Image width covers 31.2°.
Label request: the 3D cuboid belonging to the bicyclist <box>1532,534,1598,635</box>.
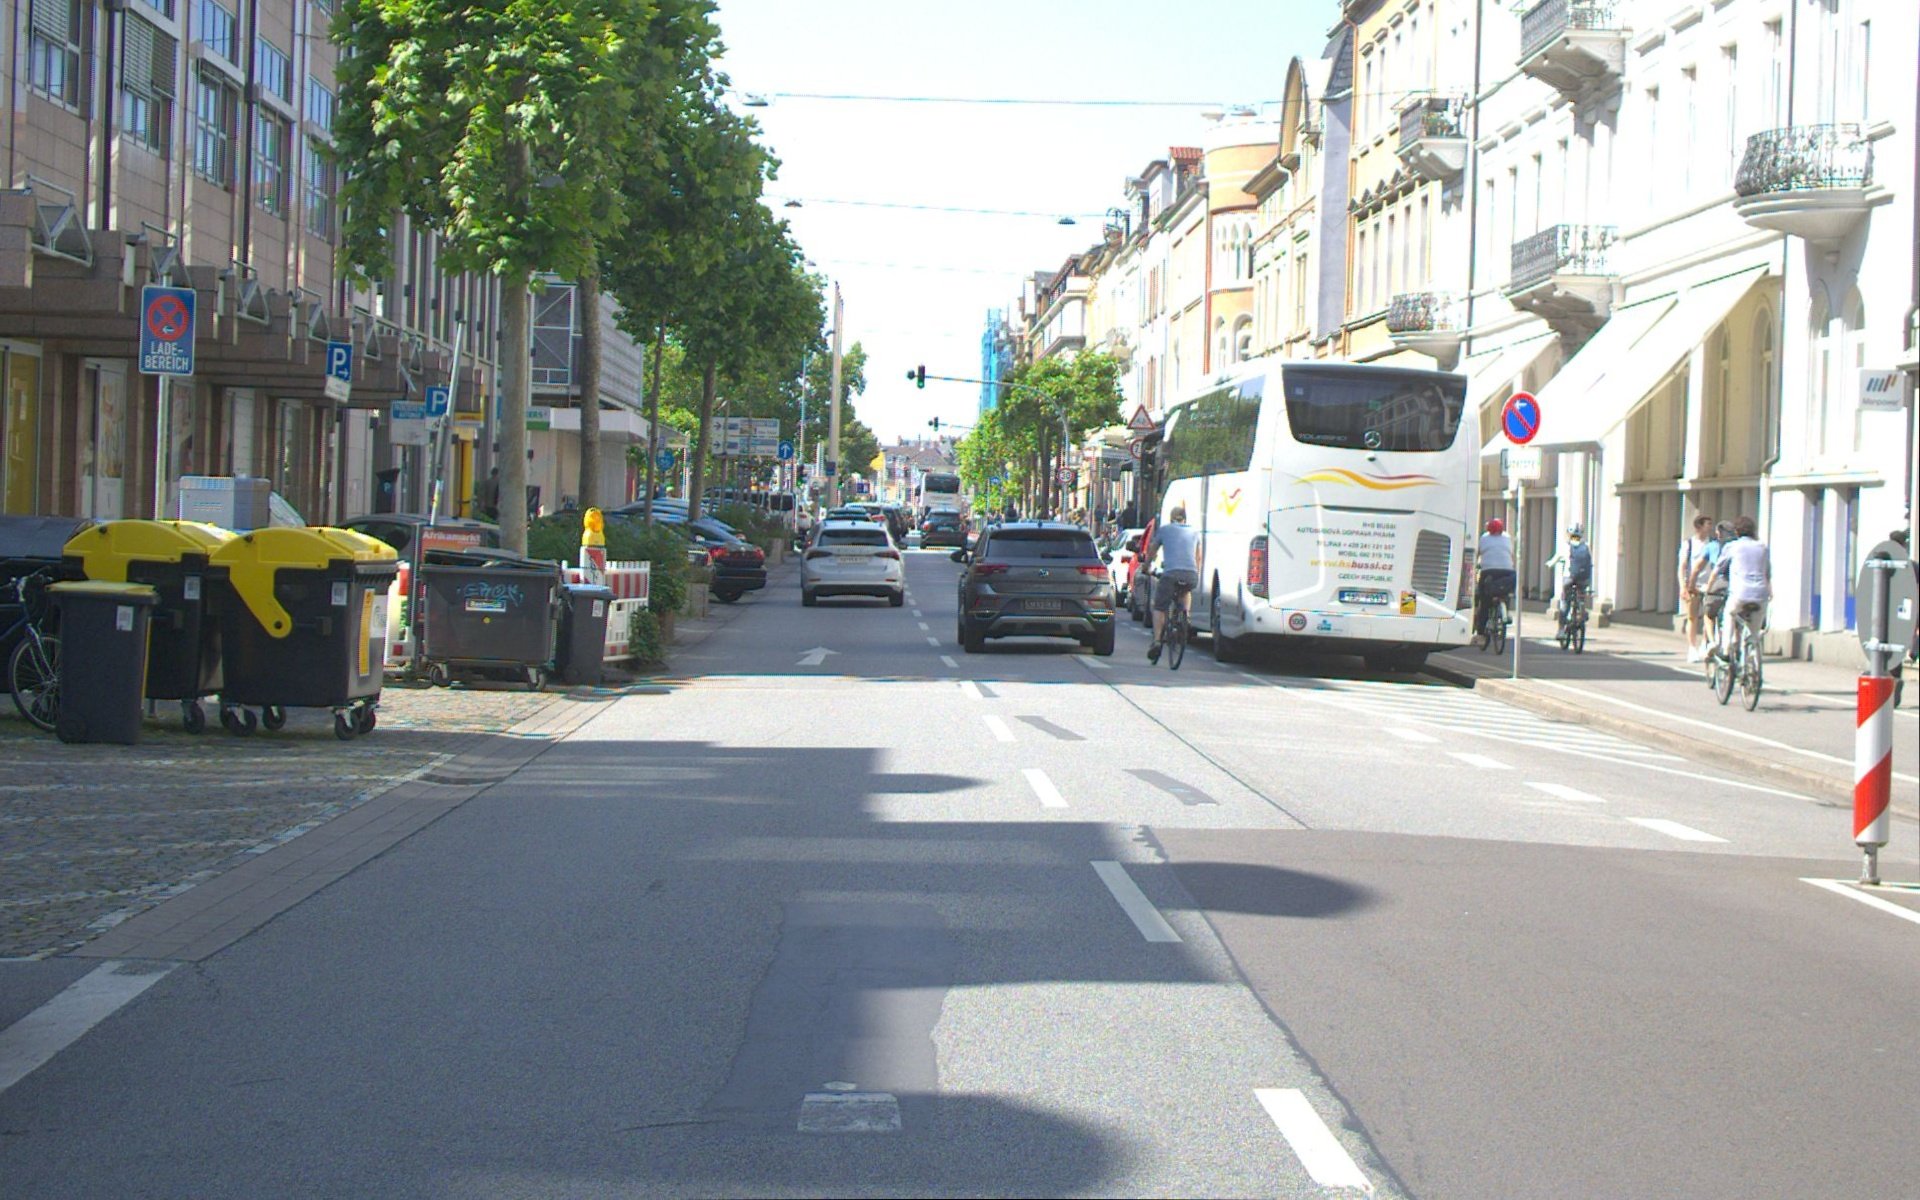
[{"bbox_3d":[7.970,-0.206,45.295,0.620,1.292,0.867,2,1,-3],"label":"bicyclist"}]

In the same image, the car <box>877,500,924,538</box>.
[{"bbox_3d":[-2.470,-3.349,142.390,1.863,1.436,4.000,1,0,-2],"label":"car"}]

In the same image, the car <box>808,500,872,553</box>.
[{"bbox_3d":[-3.437,-2.117,98.668,1.743,1.436,4.001,1,2,-2],"label":"car"}]

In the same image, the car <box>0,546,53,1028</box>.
[{"bbox_3d":[-3.612,0.566,8.110,1.936,1.350,4.250,1,2,-2],"label":"car"}]

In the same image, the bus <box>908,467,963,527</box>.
[{"bbox_3d":[-1.561,-6.464,214.324,2.769,3.592,8.976,1,2,-4],"label":"bus"}]

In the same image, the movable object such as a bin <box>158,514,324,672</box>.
[{"bbox_3d":[-6.420,-0.072,30.747,1.209,1.295,1.080,4,3,-1],"label":"movable object such as a bin"}]

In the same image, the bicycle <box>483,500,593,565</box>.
[{"bbox_3d":[-8.322,-1.335,67.813,2.064,1.126,0.464,4,1,-8],"label":"bicycle"}]

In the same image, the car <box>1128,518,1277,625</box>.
[{"bbox_3d":[3.758,-0.492,54.136,1.859,1.464,5.226,3,2,-1],"label":"car"}]

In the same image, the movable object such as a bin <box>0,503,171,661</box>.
[{"bbox_3d":[-7.815,-0.175,30.765,1.209,1.295,1.127,3,2,-1],"label":"movable object such as a bin"}]

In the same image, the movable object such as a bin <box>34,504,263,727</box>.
[{"bbox_3d":[-5.719,0.085,24.316,1.124,1.445,1.438,4,2,4],"label":"movable object such as a bin"}]

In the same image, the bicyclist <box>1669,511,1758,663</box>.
[{"bbox_3d":[7.785,-0.141,35.540,0.620,1.524,0.869,2,1,-3],"label":"bicyclist"}]

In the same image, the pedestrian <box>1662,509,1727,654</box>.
[{"bbox_3d":[9.143,-0.224,42.797,0.573,1.772,1.020,1,0,2],"label":"pedestrian"}]

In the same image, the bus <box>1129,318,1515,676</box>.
[{"bbox_3d":[4.259,-1.295,43.736,2.881,3.729,12.428,4,1,-2],"label":"bus"}]

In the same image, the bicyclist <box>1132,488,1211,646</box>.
[{"bbox_3d":[2.334,-0.372,38.054,0.694,1.667,0.916,4,3,0],"label":"bicyclist"}]

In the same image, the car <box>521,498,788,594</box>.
[{"bbox_3d":[-5.555,-0.987,62.133,4.793,1.417,1.879,5,3,39],"label":"car"}]

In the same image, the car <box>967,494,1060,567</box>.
[{"bbox_3d":[1.144,-1.486,74.953,1.833,1.522,4.000,0,0,-2],"label":"car"}]

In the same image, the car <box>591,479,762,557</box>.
[{"bbox_3d":[-7.417,-2.150,89.830,3.993,1.563,1.698,7,2,24],"label":"car"}]

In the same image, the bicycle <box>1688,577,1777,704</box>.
[{"bbox_3d":[7.333,0.368,32.687,0.594,1.116,1.800,2,2,7],"label":"bicycle"}]

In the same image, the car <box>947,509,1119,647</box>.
[{"bbox_3d":[0.833,-0.297,41.571,1.833,1.522,4.001,2,1,-2],"label":"car"}]

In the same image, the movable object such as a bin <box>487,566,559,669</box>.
[{"bbox_3d":[-4.097,0.158,32.244,0.499,0.936,0.555,1,2,15],"label":"movable object such as a bin"}]

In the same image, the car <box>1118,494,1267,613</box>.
[{"bbox_3d":[3.987,-0.838,59.672,1.827,1.857,4.355,3,2,-5],"label":"car"}]

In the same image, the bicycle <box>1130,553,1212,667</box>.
[{"bbox_3d":[2.332,0.093,38.173,0.664,1.116,2.243,4,2,-1],"label":"bicycle"}]

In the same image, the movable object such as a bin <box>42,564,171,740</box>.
[{"bbox_3d":[-5.654,0.338,22.804,0.722,1.094,0.657,3,2,-9],"label":"movable object such as a bin"}]

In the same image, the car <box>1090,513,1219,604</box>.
[{"bbox_3d":[3.648,-0.818,65.129,1.812,1.461,4.581,3,3,-4],"label":"car"}]

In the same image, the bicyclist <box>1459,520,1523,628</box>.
[{"bbox_3d":[6.881,-0.347,44.537,0.620,1.366,0.780,2,1,-3],"label":"bicyclist"}]

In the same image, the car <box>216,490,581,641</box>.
[{"bbox_3d":[-6.492,-0.420,39.564,4.055,1.489,1.931,4,3,40],"label":"car"}]

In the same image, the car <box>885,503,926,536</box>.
[{"bbox_3d":[-2.574,-3.783,161.311,1.863,1.436,4.000,1,0,-2],"label":"car"}]

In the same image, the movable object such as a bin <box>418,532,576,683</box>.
[{"bbox_3d":[-4.157,0.057,30.956,1.277,1.295,0.853,2,1,-1],"label":"movable object such as a bin"}]

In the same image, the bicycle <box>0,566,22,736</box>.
[{"bbox_3d":[-7.334,0.278,22.904,1.974,1.116,0.509,4,0,-5],"label":"bicycle"}]

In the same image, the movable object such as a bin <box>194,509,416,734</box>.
[{"bbox_3d":[-4.594,0.128,24.227,1.124,1.445,1.438,4,2,4],"label":"movable object such as a bin"}]

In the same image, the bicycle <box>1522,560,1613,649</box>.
[{"bbox_3d":[7.973,0.044,45.177,0.620,1.095,2.353,2,1,-3],"label":"bicycle"}]

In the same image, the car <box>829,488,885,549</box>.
[{"bbox_3d":[-3.669,-2.883,121.973,1.863,2.023,4.000,2,0,-2],"label":"car"}]

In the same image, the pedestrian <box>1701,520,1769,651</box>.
[{"bbox_3d":[9.789,-0.175,43.448,0.645,1.612,0.822,2,-1,2],"label":"pedestrian"}]

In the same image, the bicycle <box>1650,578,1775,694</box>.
[{"bbox_3d":[7.748,0.352,35.484,0.620,1.095,2.353,2,1,-3],"label":"bicycle"}]

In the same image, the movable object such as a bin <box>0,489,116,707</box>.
[{"bbox_3d":[-6.867,-0.045,24.532,1.209,1.445,1.364,4,2,5],"label":"movable object such as a bin"}]

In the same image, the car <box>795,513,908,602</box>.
[{"bbox_3d":[-1.887,-0.744,60.198,1.863,1.436,4.000,2,1,-1],"label":"car"}]

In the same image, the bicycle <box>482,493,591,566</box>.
[{"bbox_3d":[-8.434,-1.406,68.499,2.064,1.284,0.368,4,1,-8],"label":"bicycle"}]

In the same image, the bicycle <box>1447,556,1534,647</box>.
[{"bbox_3d":[6.866,0.004,44.593,0.620,1.095,2.353,2,1,-3],"label":"bicycle"}]

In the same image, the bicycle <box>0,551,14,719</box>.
[{"bbox_3d":[-7.062,0.218,22.050,1.843,1.069,0.557,0,-1,-5],"label":"bicycle"}]

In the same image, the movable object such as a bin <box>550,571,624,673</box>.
[{"bbox_3d":[-3.526,0.205,32.501,0.553,0.936,0.500,-1,2,-27],"label":"movable object such as a bin"}]

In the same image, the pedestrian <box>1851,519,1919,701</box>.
[{"bbox_3d":[9.000,0.098,33.068,0.620,1.714,0.835,2,0,1],"label":"pedestrian"}]

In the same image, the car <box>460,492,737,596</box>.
[{"bbox_3d":[-6.246,-0.971,59.144,4.754,1.528,1.986,4,2,41],"label":"car"}]

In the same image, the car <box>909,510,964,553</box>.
[{"bbox_3d":[-0.862,-2.483,124.013,1.863,1.436,4.001,1,2,-2],"label":"car"}]

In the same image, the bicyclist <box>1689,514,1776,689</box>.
[{"bbox_3d":[7.294,0.007,32.479,0.694,1.620,0.835,1,1,8],"label":"bicyclist"}]

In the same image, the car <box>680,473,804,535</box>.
[{"bbox_3d":[-8.699,-3.835,136.991,4.720,1.996,1.937,6,1,39],"label":"car"}]

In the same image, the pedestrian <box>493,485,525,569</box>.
[{"bbox_3d":[-9.022,-1.456,68.736,0.565,1.651,0.637,2,1,-6],"label":"pedestrian"}]

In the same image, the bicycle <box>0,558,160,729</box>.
[{"bbox_3d":[-6.547,0.274,23.570,1.967,1.116,0.509,3,0,-5],"label":"bicycle"}]
